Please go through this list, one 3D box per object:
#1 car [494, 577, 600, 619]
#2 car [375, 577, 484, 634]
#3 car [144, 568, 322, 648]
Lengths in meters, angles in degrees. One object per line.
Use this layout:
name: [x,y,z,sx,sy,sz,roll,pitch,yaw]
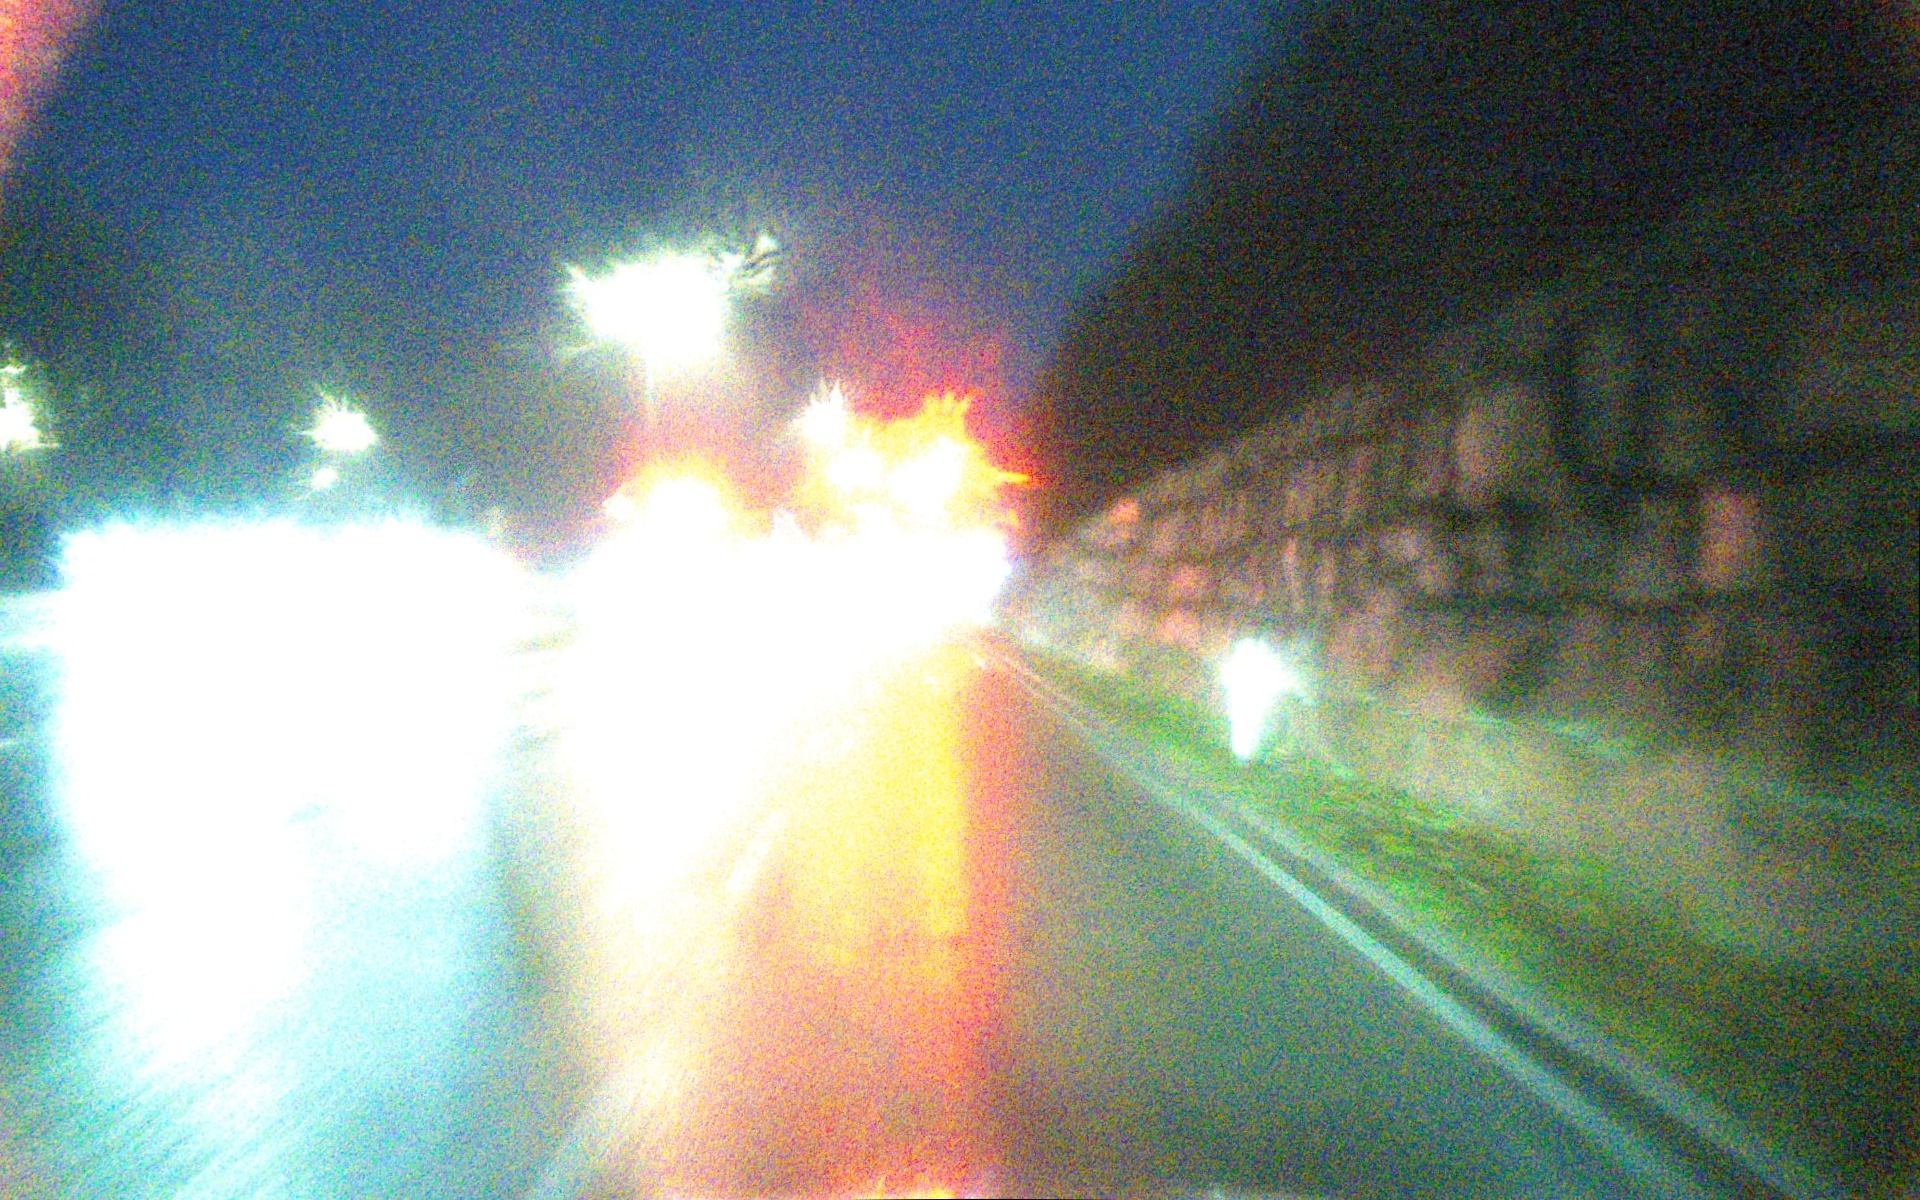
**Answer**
car: [-17.508,-0.084,70.234,3.904,1.691,2.001,2,0,3]
car: [-15.243,0.143,47.779,1.954,1.534,4.552,1,0,-4]
car: [-13.705,0.132,31.457,1.839,1.422,4.245,0,0,-5]
